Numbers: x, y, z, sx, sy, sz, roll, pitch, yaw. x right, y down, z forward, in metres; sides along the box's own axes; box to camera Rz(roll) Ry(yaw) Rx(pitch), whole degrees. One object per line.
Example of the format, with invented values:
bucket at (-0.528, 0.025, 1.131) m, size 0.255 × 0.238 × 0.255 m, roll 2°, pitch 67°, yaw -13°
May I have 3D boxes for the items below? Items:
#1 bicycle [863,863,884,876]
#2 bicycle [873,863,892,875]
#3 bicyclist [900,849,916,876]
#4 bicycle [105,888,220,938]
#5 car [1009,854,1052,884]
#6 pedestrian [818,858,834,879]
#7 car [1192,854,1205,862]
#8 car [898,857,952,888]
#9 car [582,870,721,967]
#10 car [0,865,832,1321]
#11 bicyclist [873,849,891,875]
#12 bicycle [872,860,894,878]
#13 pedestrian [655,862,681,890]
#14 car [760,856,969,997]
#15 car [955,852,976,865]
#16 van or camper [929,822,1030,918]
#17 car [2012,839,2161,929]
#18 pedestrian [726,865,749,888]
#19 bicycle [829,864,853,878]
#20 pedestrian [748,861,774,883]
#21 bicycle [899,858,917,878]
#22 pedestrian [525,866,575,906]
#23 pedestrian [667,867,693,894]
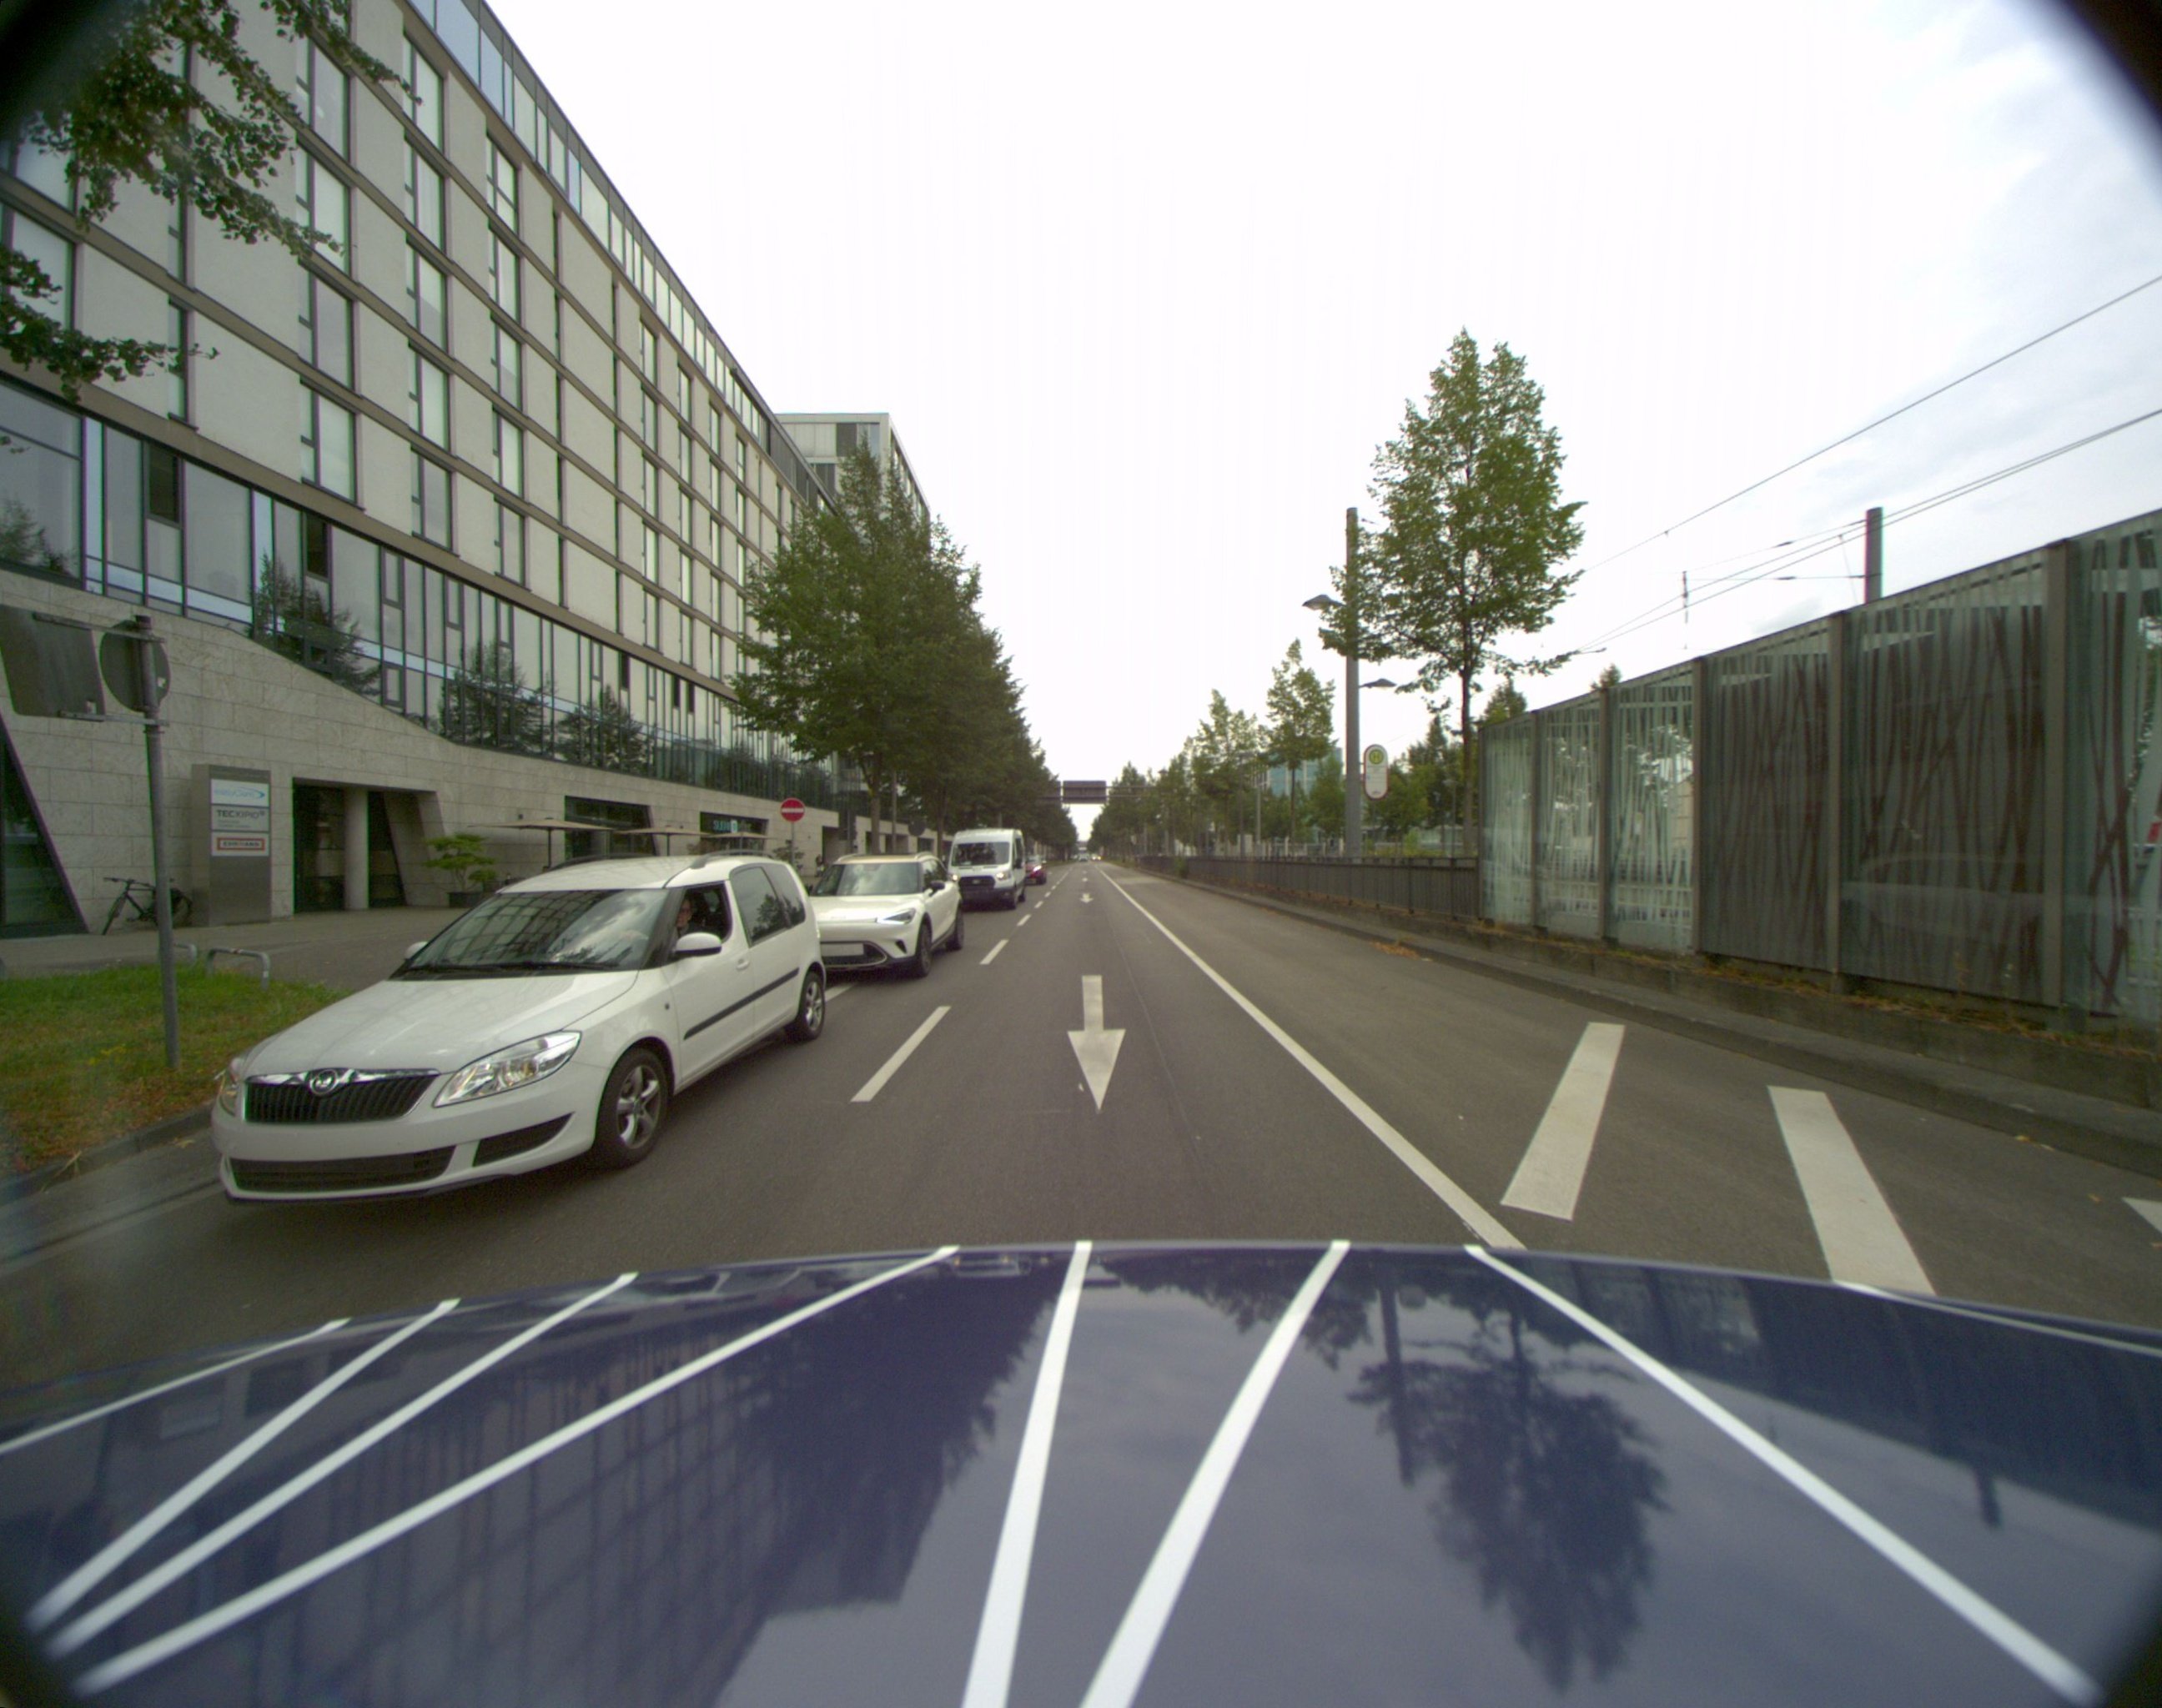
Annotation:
bicycle at (-17.259, 1.286, 63.247) m, size 1.602 × 1.020 × 0.533 m, roll 0°, pitch 0°, yaw -3°
bicycle at (-17.593, 1.337, 67.196) m, size 1.533 × 1.020 × 0.533 m, roll 0°, pitch 0°, yaw -3°
bicyclist at (-10.533, 0.507, 46.243) m, size 0.726 × 1.573 × 0.989 m, roll 1°, pitch 1°, yaw -2°
bicycle at (-18.793, 1.194, 15.594) m, size 0.519 × 0.905 × 1.493 m, roll 0°, pitch 0°, yaw 1°
car at (-2.662, 0.778, 40.718) m, size 1.973 × 1.528 × 4.139 m, roll 0°, pitch 0°, yaw 1°
pedestrian at (-17.546, 0.979, 52.241) m, size 0.758 × 1.398 × 0.721 m, roll 0°, pitch 0°, yaw 8°
car at (24.659, 0.784, 159.483) m, size 1.832 × 1.646 × 4.691 m, roll 0°, pitch 0°, yaw -2°
car at (-8.249, 0.962, 40.586) m, size 1.943 × 1.543 × 4.593 m, roll -1°, pitch 0°, yaw 0°
car at (-8.545, 1.102, 14.879) m, size 1.951 × 1.467 × 4.858 m, roll -1°, pitch 0°, yaw -34°
car at (-3.175, 0.924, 4.842) m, size 1.783 × 1.647 × 4.023 m, roll 0°, pitch 0°, yaw 1°
bicyclist at (-12.102, 0.491, 46.260) m, size 0.726 × 1.573 × 0.990 m, roll 1°, pitch 1°, yaw 5°
bicycle at (-12.075, 0.916, 46.454) m, size 0.675 × 1.036 × 2.008 m, roll 0°, pitch 0°, yaw 4°
pedestrian at (-18.151, 0.953, 33.395) m, size 0.720 × 1.185 × 0.759 m, roll 0°, pitch 0°, yaw 0°
car at (-2.836, 0.858, 10.925) m, size 1.783 × 1.647 × 4.023 m, roll 0°, pitch 0°, yaw 1°
car at (-14.352, 0.554, 94.827) m, size 1.862 × 1.579 × 4.240 m, roll 2°, pitch 0°, yaw 0°
van or camper at (-2.893, 0.430, 23.247) m, size 2.184 × 2.493 × 6.339 m, roll -2°, pitch 0°, yaw 0°
car at (20.327, 0.524, 13.606) m, size 1.998 × 1.608 × 4.385 m, roll 0°, pitch 0°, yaw 2°
pedestrian at (-17.992, 1.182, 39.797) m, size 0.719 × 1.185 × 0.760 m, roll 0°, pitch 0°, yaw 22°
bicycle at (-17.698, 1.235, 55.932) m, size 1.605 × 1.020 × 0.609 m, roll 0°, pitch 0°, yaw -27°
pedestrian at (-17.321, 0.965, 41.188) m, size 0.773 × 1.185 × 1.107 m, roll 0°, pitch 0°, yaw 15°
bicycle at (-10.523, 0.848, 46.240) m, size 0.675 × 1.136 × 2.007 m, roll 0°, pitch 0°, yaw -2°
pedestrian at (-17.142, 1.022, 24.541) m, size 0.899 × 1.221 × 0.950 m, roll 0°, pitch 0°, yaw 5°
pedestrian at (-18.132, 1.195, 34.373) m, size 0.720 × 1.185 × 0.759 m, roll 0°, pitch 0°, yaw 2°
